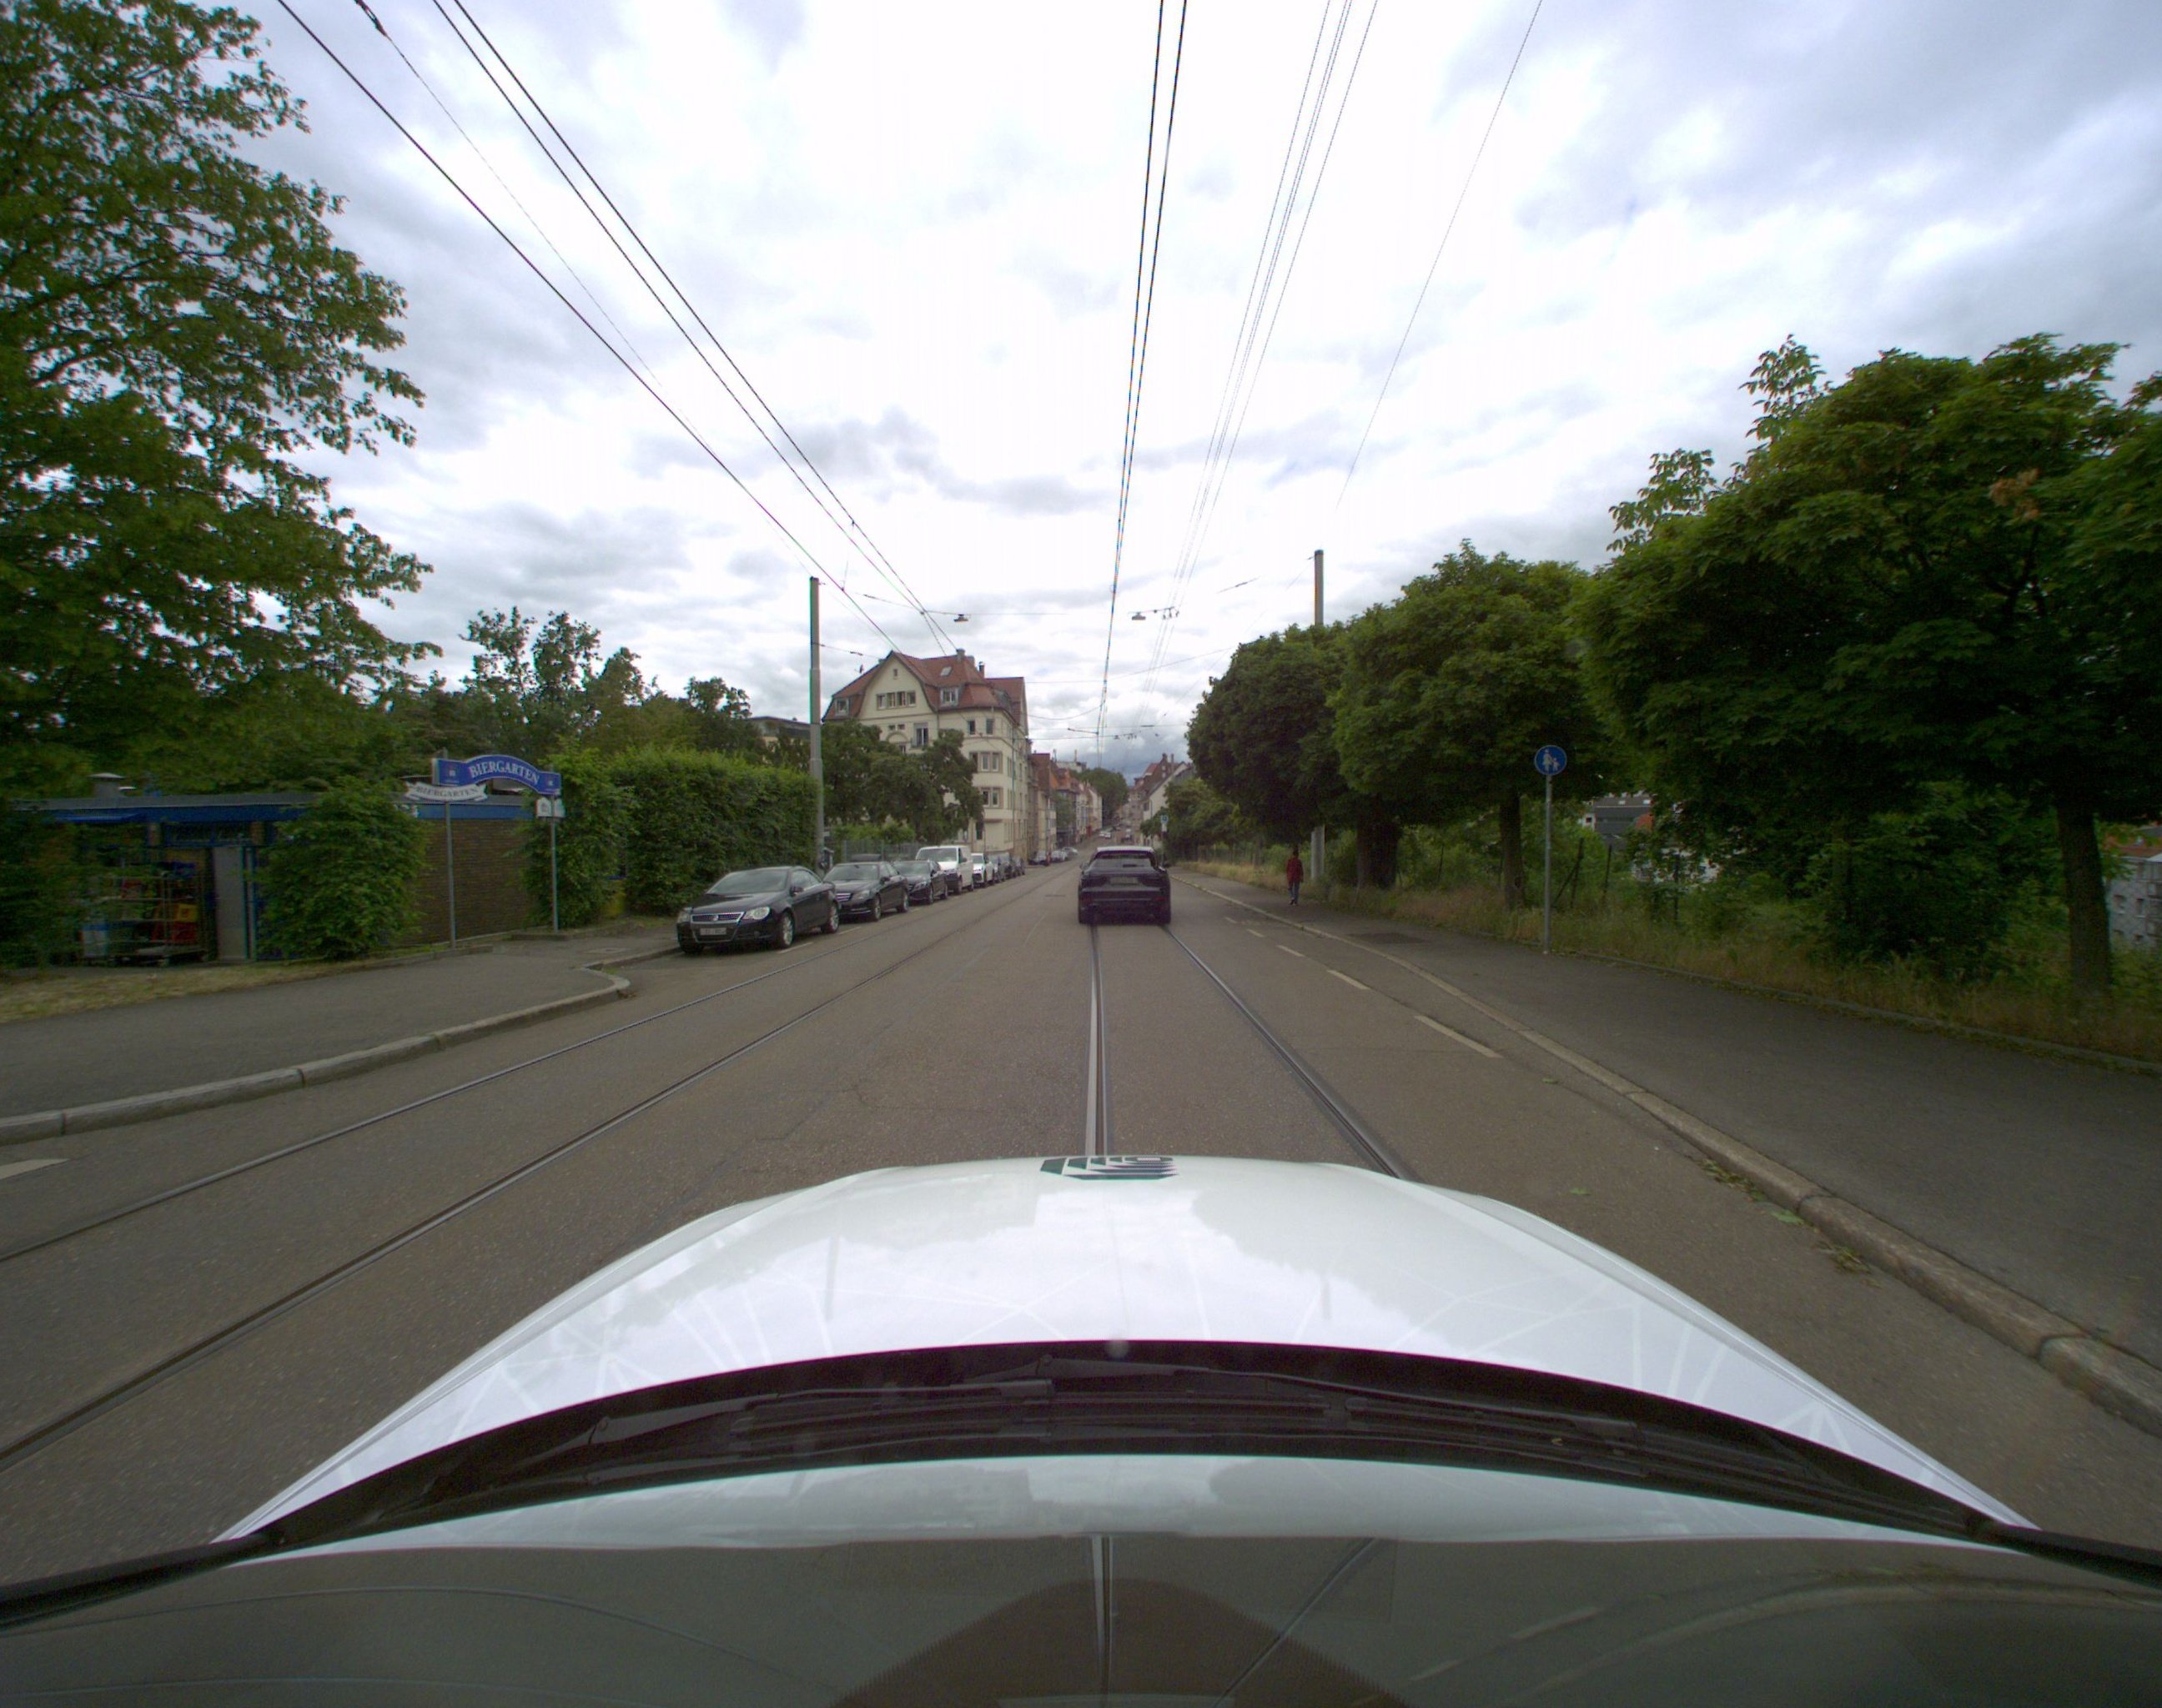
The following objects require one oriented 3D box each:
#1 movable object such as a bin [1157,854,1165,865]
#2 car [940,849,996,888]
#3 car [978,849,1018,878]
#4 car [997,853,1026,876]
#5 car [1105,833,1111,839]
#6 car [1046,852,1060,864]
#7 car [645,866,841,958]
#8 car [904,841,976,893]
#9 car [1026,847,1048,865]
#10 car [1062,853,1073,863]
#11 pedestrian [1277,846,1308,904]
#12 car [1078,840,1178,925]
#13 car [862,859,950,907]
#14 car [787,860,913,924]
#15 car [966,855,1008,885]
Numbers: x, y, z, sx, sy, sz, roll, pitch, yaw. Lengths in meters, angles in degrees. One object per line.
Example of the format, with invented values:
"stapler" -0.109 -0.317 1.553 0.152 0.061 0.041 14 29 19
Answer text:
"movable object such as a bin" 8.818 0.648 89.588 0.790 1.218 0.788 0 -1 -2
"car" -5.274 0.694 38.594 1.962 1.686 4.632 -1 -1 0
"car" -5.058 0.613 50.324 1.962 1.686 4.444 -1 -1 0
"car" -4.804 0.754 56.903 1.615 1.477 4.156 -1 -1 0
"car" 8.333 -5.565 251.848 1.744 1.760 4.256 0 0 2
"car" -3.616 0.582 106.147 1.615 1.463 4.032 -1 -1 0
"car" -5.901 0.943 14.837 1.784 1.404 4.161 -1 -1 0
"car" -5.572 0.528 32.778 1.962 1.913 4.734 -1 -1 0
"car" -4.355 0.236 81.679 1.861 1.646 4.402 -1 -1 0
"car" -2.023 0.667 125.647 1.615 1.473 4.555 -1 -1 0
"pedestrian" 5.963 0.585 22.987 0.712 1.621 0.719 0 -1 1
"car" 0.986 0.582 18.332 1.986 1.676 4.001 0 0 1
"car" -5.625 0.902 26.720 1.834 1.387 4.517 -1 -1 0
"car" -5.641 0.888 20.463 1.834 1.387 4.440 -1 -1 0
"car" -5.047 0.850 44.139 1.732 1.509 3.869 -1 -1 0
